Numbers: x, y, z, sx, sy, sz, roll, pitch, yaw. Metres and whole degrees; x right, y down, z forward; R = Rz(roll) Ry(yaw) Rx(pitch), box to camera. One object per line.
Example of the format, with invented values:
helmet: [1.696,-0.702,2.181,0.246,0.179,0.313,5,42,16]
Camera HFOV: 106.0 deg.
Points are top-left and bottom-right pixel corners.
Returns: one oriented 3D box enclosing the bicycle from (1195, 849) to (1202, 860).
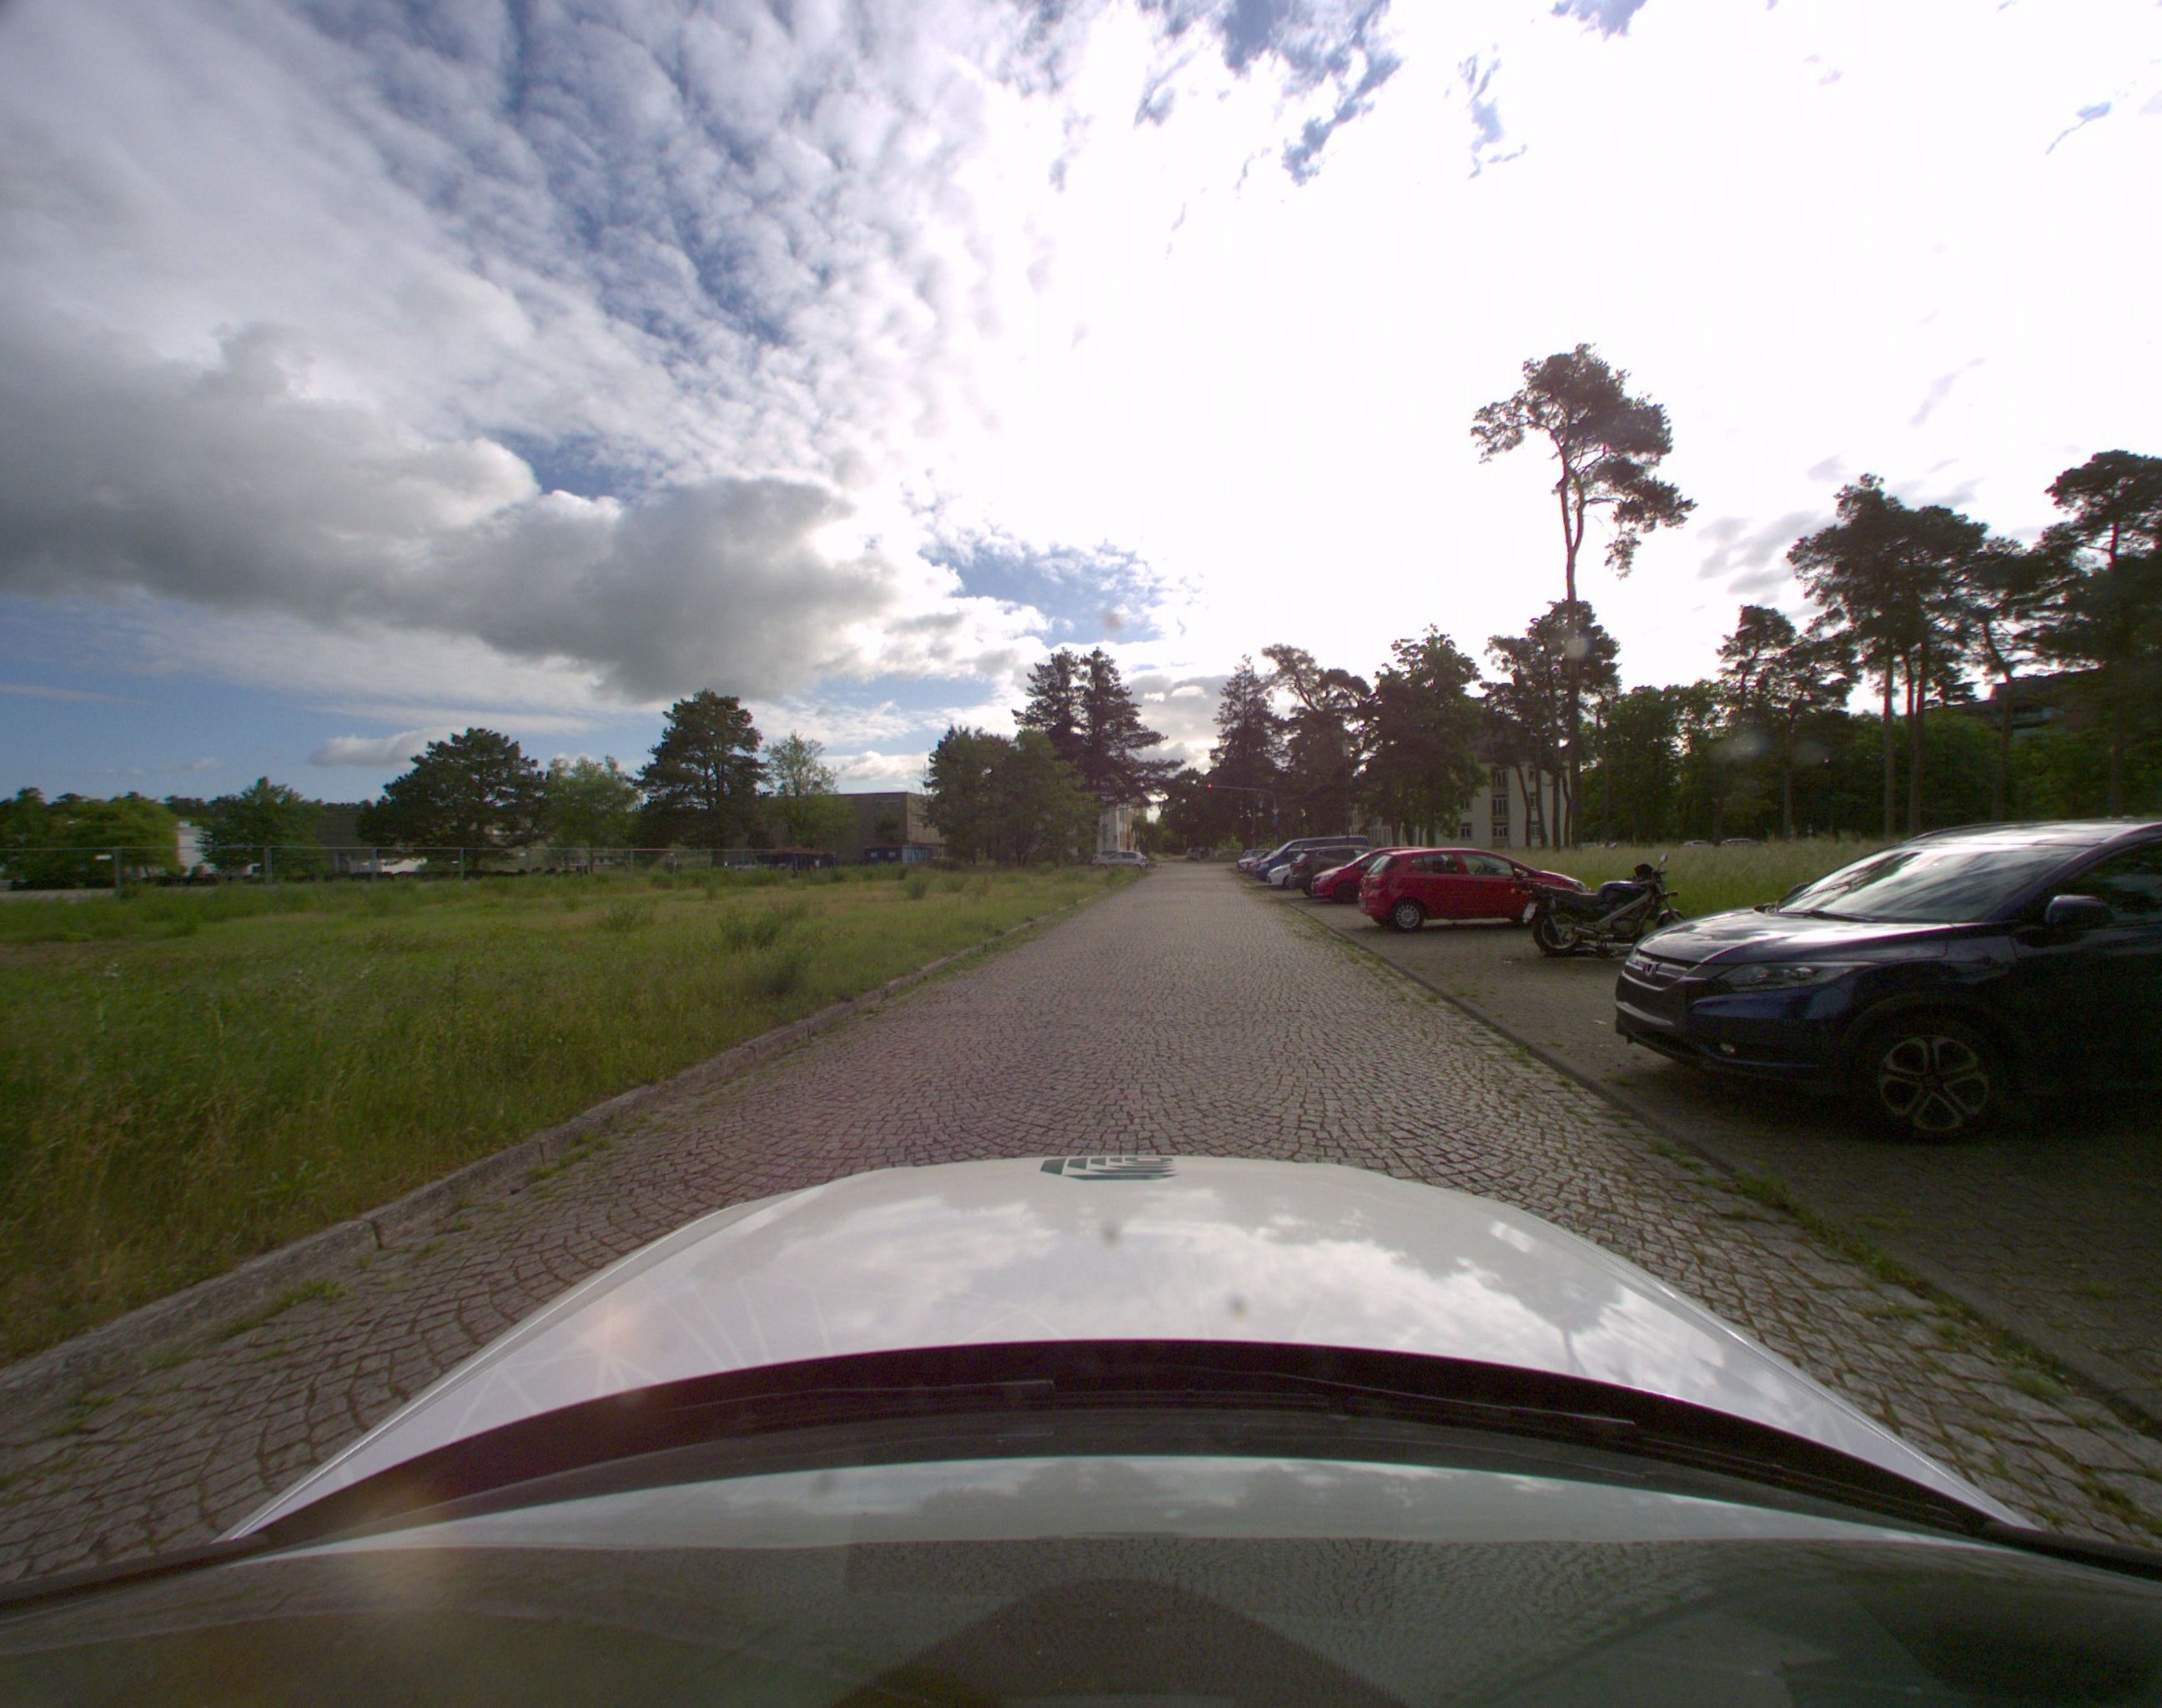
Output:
bicycle: [14.900,0.061,103.144,0.805,1.268,1.978,-1,0,9]

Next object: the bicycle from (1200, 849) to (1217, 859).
bicycle: [16.663,-0.016,106.714,2.152,1.268,0.813,-1,0,1]

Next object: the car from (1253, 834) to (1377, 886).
car: [9.700,0.253,34.044,4.758,2.039,1.741,-1,0,5]

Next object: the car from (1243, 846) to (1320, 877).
car: [10.415,0.390,42.402,3.589,1.506,1.662,-1,0,-3]

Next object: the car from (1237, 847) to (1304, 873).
car: [12.170,0.382,52.439,3.971,1.543,1.665,-1,0,2]

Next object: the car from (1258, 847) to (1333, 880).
car: [10.317,0.453,39.344,3.276,1.504,1.667,-1,0,5]

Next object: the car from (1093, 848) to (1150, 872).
car: [2.855,0.426,58.119,3.972,1.552,2.001,-1,0,1]

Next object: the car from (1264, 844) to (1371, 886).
car: [9.119,0.413,31.617,3.704,1.424,1.657,-3,0,5]

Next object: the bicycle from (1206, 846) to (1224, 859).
bicycle: [17.757,-0.182,107.883,2.152,1.615,0.813,-1,0,1]

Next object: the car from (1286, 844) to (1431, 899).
car: [8.482,0.520,25.171,3.930,1.580,1.765,-1,0,6]

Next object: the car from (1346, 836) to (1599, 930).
car: [7.064,0.513,15.030,3.819,1.505,1.741,-2,0,6]

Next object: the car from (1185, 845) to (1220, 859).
car: [18.591,-0.318,124.477,5.038,2.013,1.998,-1,0,-3]

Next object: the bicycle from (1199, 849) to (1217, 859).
bicycle: [16.742,-0.013,107.297,2.152,1.268,0.813,-1,0,1]

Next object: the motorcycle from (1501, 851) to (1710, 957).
motorcycle: [6.745,0.630,10.545,2.255,1.275,0.606,-2,0,2]

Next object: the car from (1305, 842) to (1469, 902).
car: [8.367,0.482,22.549,3.965,1.518,1.742,-1,0,7]

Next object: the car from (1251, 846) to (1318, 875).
car: [11.280,0.360,45.292,3.285,1.504,1.662,-1,0,-3]

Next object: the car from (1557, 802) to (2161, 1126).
car: [5.550,0.514,4.864,4.240,1.573,1.899,-2,0,7]

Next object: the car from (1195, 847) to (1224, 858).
car: [19.087,-0.202,121.101,3.972,1.644,2.001,-1,0,1]

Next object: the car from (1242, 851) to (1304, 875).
car: [11.291,0.516,47.941,3.279,1.267,1.665,-1,0,2]

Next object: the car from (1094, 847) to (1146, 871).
car: [3.054,0.380,63.559,3.973,1.750,1.927,-1,0,1]

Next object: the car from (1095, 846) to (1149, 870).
car: [3.043,0.276,60.696,3.972,1.706,2.001,-1,0,1]

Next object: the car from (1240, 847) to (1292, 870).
car: [13.101,0.311,57.677,3.376,1.543,1.392,-1,0,2]
